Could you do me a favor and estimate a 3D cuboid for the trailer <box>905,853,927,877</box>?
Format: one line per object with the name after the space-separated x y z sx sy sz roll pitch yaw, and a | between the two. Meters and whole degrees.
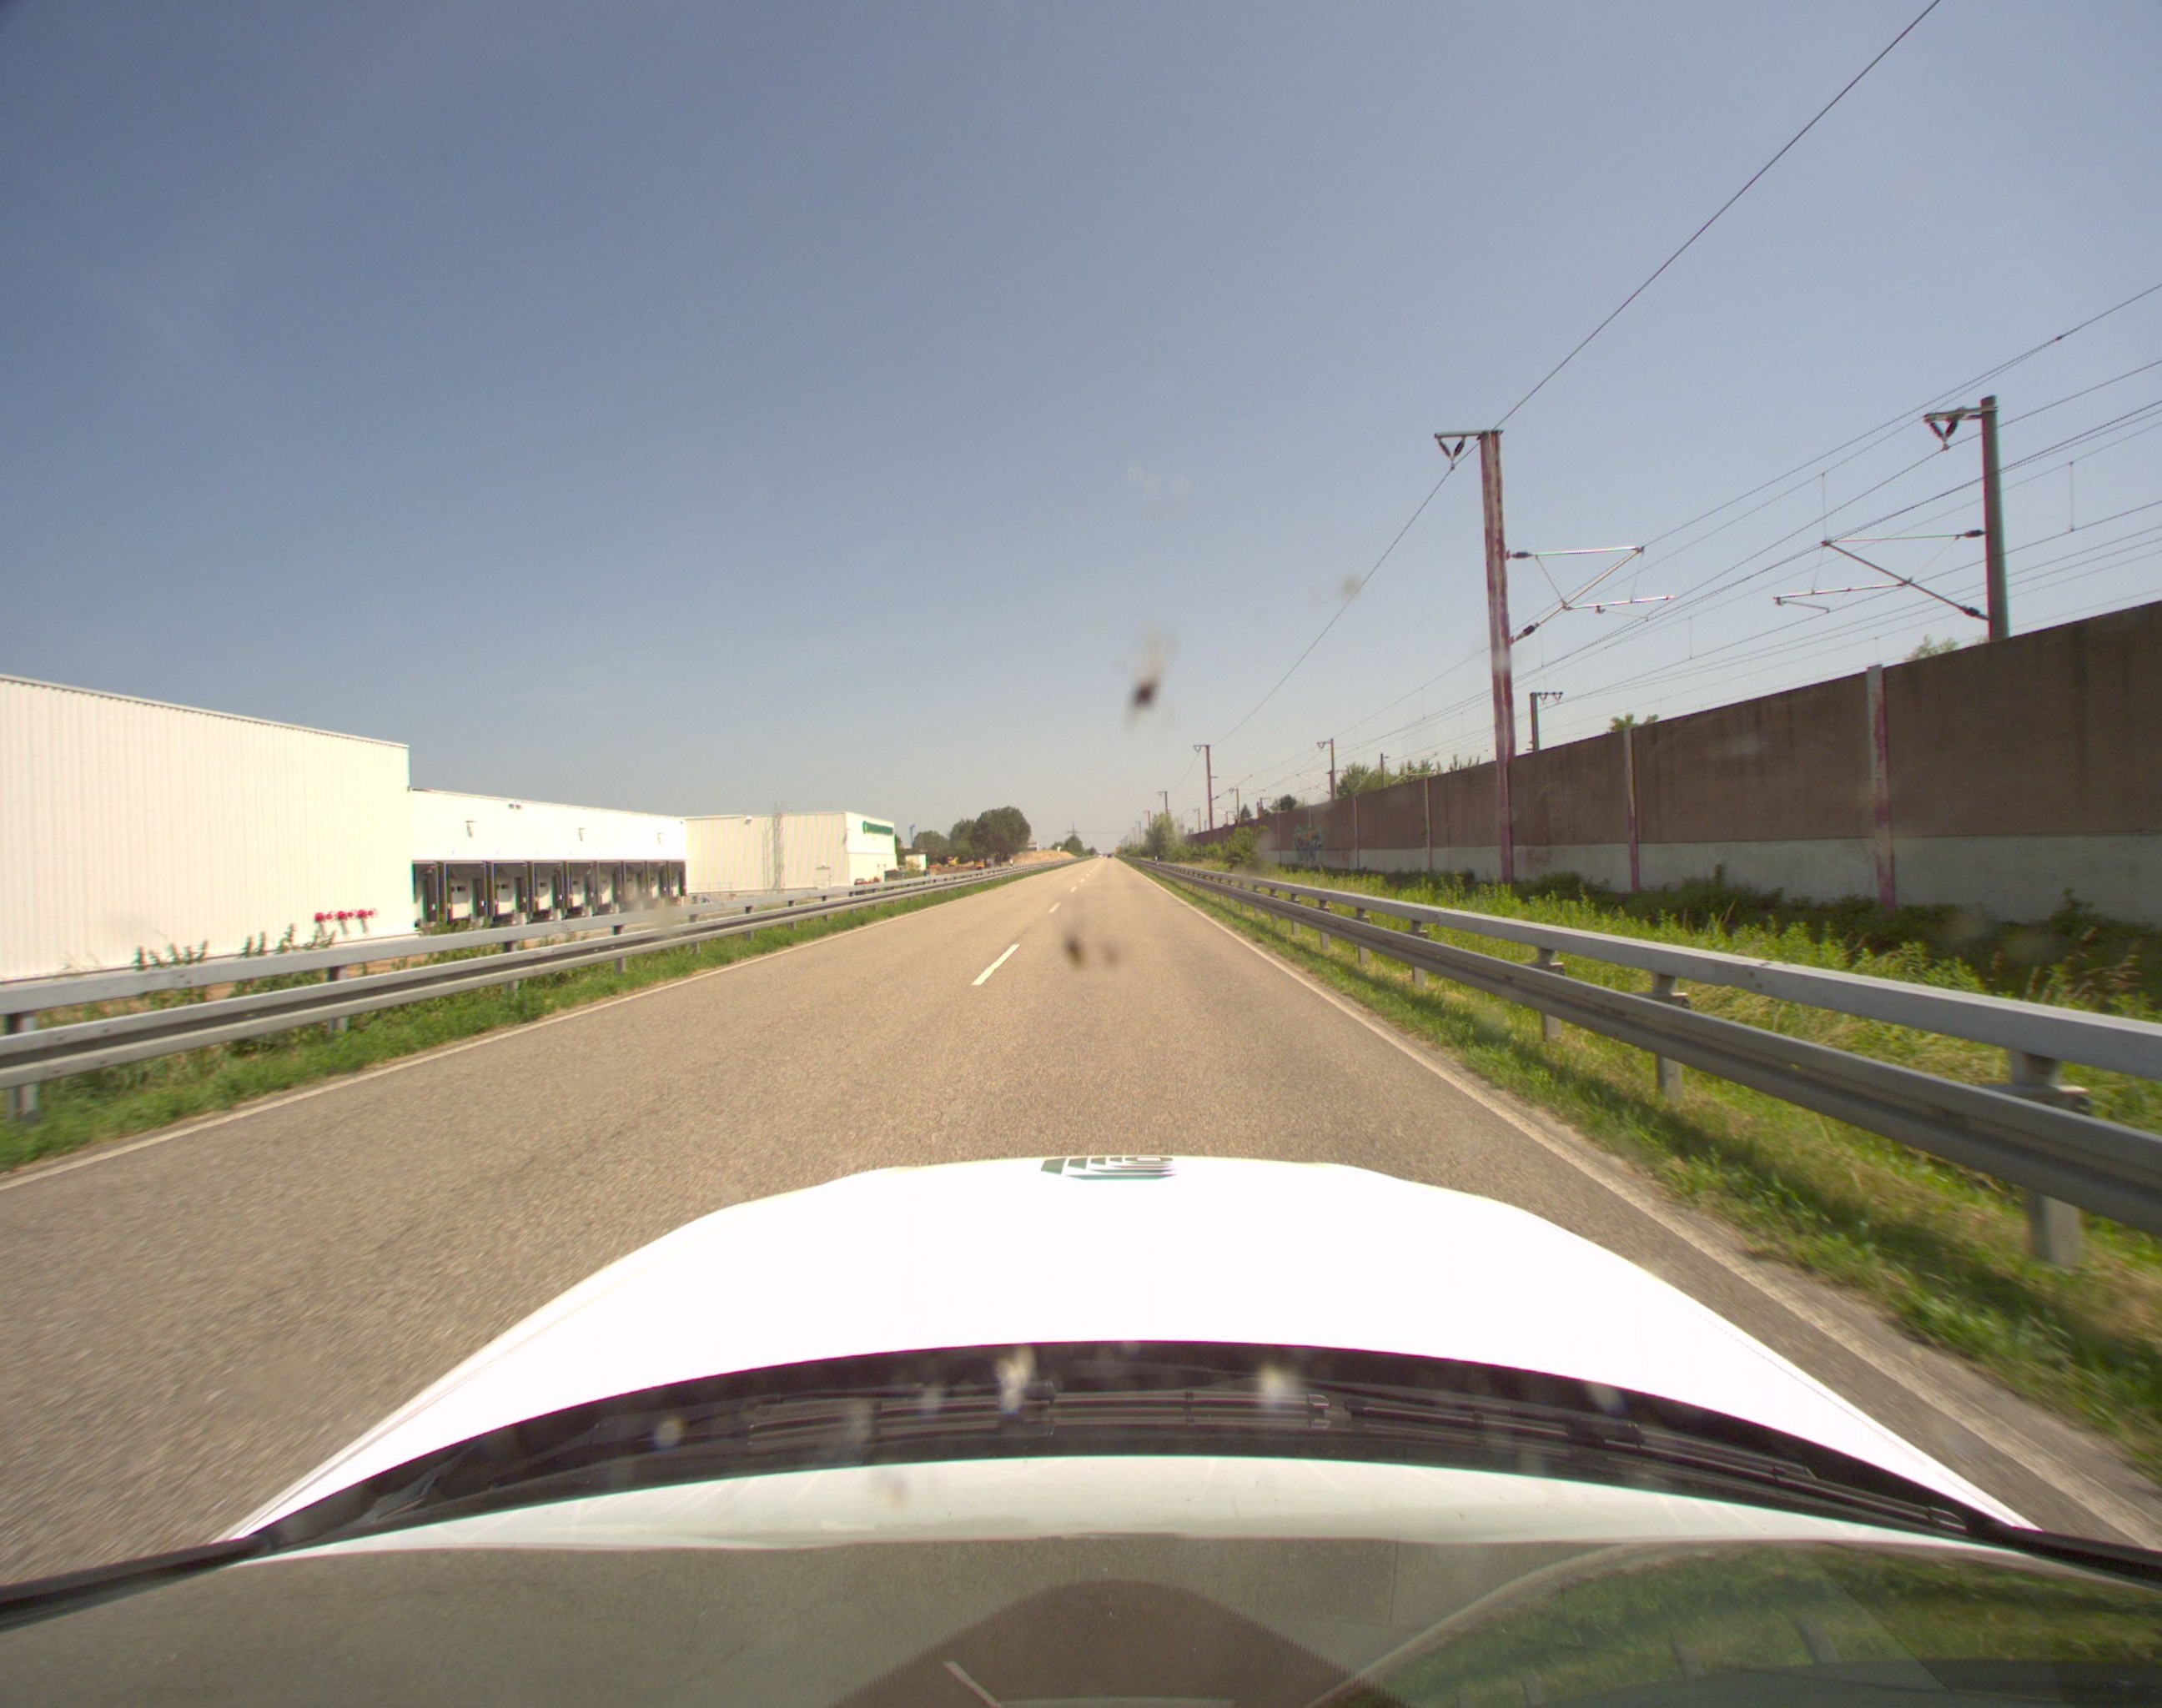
-30.663 1.968 151.954 2.672 4.332 7.946 -1 0 -2 | trailer

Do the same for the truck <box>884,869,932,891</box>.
-20.102 3.013 94.910 4.990 2.333 2.233 -2 0 1 | truck
